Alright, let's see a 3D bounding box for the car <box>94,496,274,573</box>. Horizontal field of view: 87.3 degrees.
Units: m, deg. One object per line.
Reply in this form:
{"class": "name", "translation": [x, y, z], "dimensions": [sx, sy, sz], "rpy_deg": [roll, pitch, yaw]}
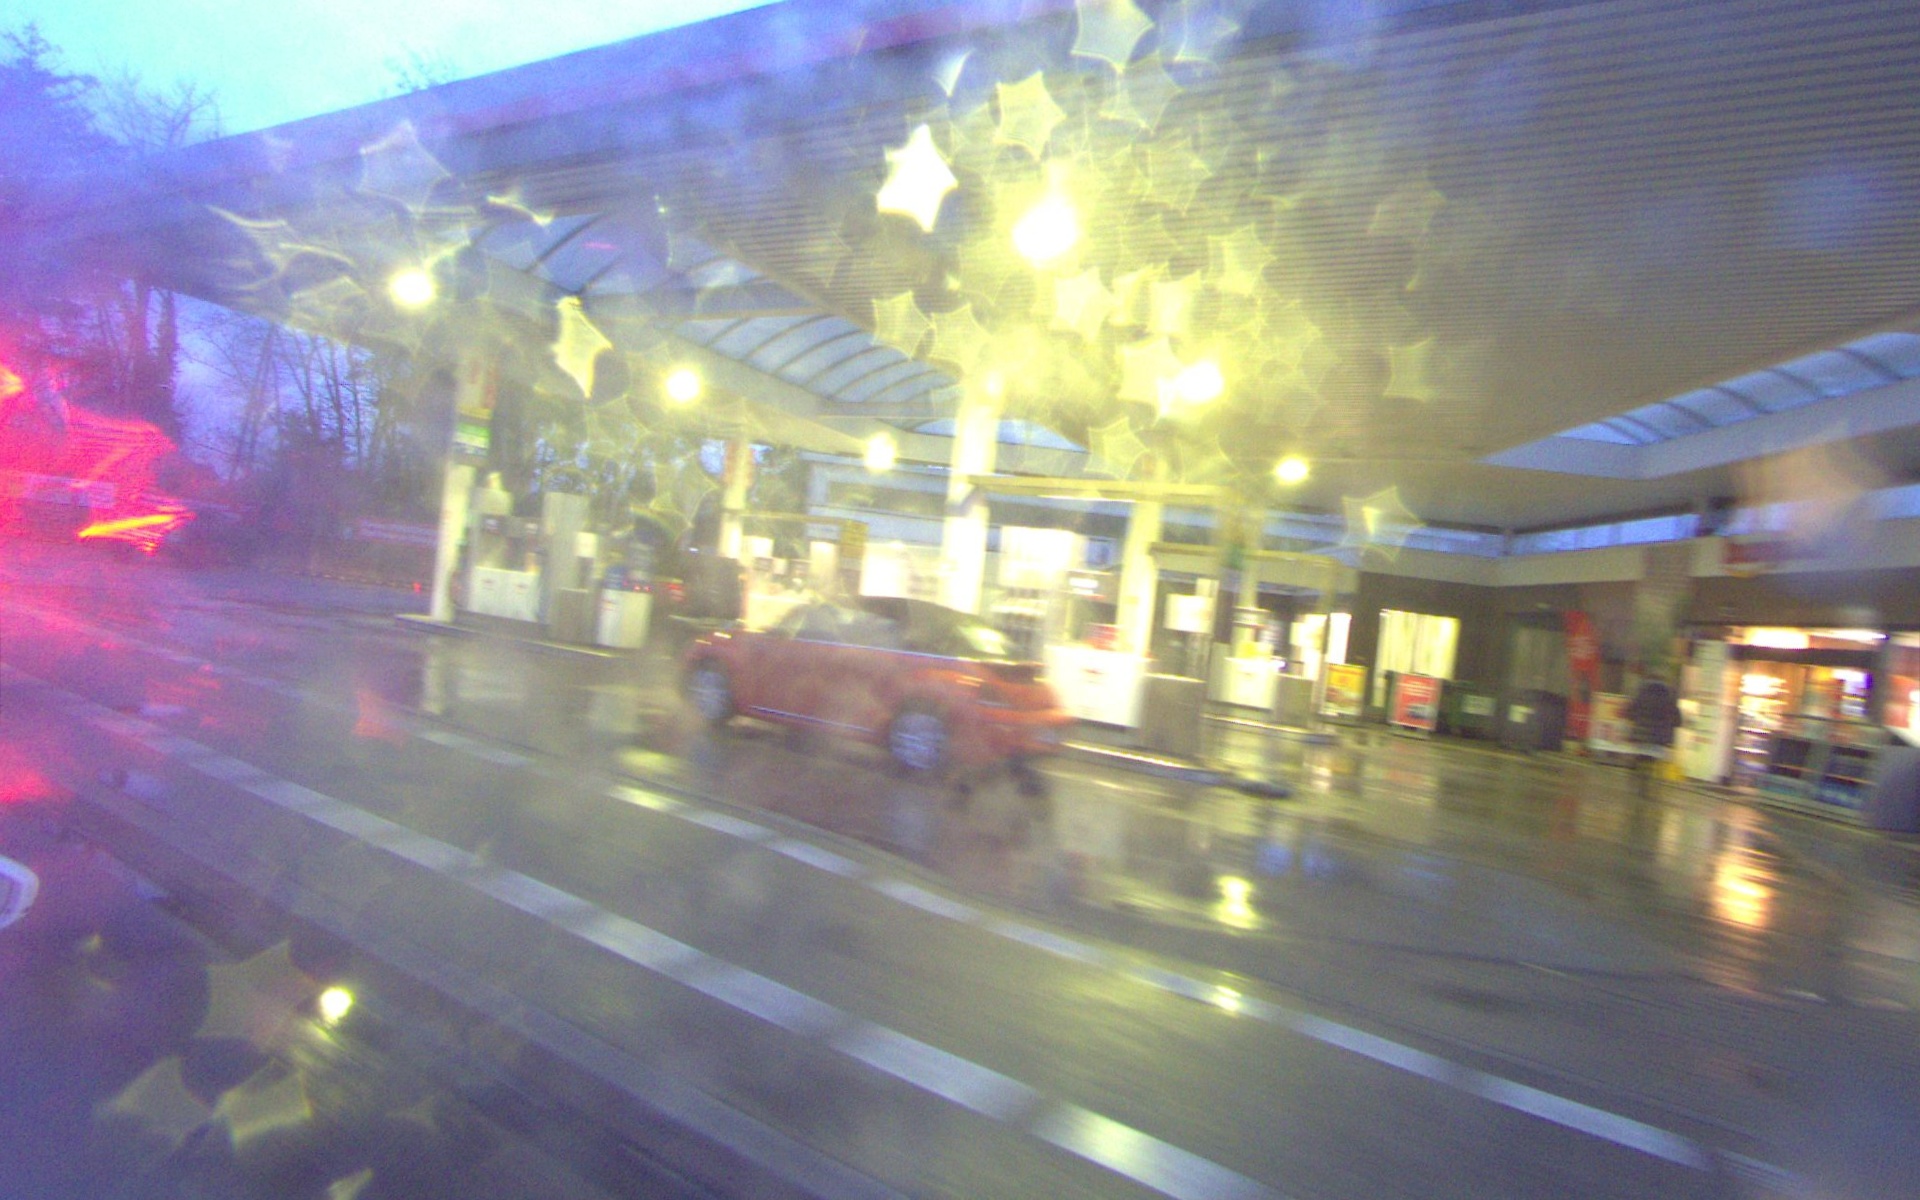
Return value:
{"class": "car", "translation": [-20.928, -1.687, 27.393], "dimensions": [1.987, 1.628, 4.473], "rpy_deg": [7, 0, -12]}

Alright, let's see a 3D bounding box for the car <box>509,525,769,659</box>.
{"class": "car", "translation": [-5.740, -0.155, 17.893], "dimensions": [4.227, 1.883, 1.995], "rpy_deg": [7, 1, 31]}

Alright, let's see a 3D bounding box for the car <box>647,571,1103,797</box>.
{"class": "car", "translation": [-0.907, 0.674, 9.616], "dimensions": [4.099, 1.414, 1.574], "rpy_deg": [7, 1, 31]}
